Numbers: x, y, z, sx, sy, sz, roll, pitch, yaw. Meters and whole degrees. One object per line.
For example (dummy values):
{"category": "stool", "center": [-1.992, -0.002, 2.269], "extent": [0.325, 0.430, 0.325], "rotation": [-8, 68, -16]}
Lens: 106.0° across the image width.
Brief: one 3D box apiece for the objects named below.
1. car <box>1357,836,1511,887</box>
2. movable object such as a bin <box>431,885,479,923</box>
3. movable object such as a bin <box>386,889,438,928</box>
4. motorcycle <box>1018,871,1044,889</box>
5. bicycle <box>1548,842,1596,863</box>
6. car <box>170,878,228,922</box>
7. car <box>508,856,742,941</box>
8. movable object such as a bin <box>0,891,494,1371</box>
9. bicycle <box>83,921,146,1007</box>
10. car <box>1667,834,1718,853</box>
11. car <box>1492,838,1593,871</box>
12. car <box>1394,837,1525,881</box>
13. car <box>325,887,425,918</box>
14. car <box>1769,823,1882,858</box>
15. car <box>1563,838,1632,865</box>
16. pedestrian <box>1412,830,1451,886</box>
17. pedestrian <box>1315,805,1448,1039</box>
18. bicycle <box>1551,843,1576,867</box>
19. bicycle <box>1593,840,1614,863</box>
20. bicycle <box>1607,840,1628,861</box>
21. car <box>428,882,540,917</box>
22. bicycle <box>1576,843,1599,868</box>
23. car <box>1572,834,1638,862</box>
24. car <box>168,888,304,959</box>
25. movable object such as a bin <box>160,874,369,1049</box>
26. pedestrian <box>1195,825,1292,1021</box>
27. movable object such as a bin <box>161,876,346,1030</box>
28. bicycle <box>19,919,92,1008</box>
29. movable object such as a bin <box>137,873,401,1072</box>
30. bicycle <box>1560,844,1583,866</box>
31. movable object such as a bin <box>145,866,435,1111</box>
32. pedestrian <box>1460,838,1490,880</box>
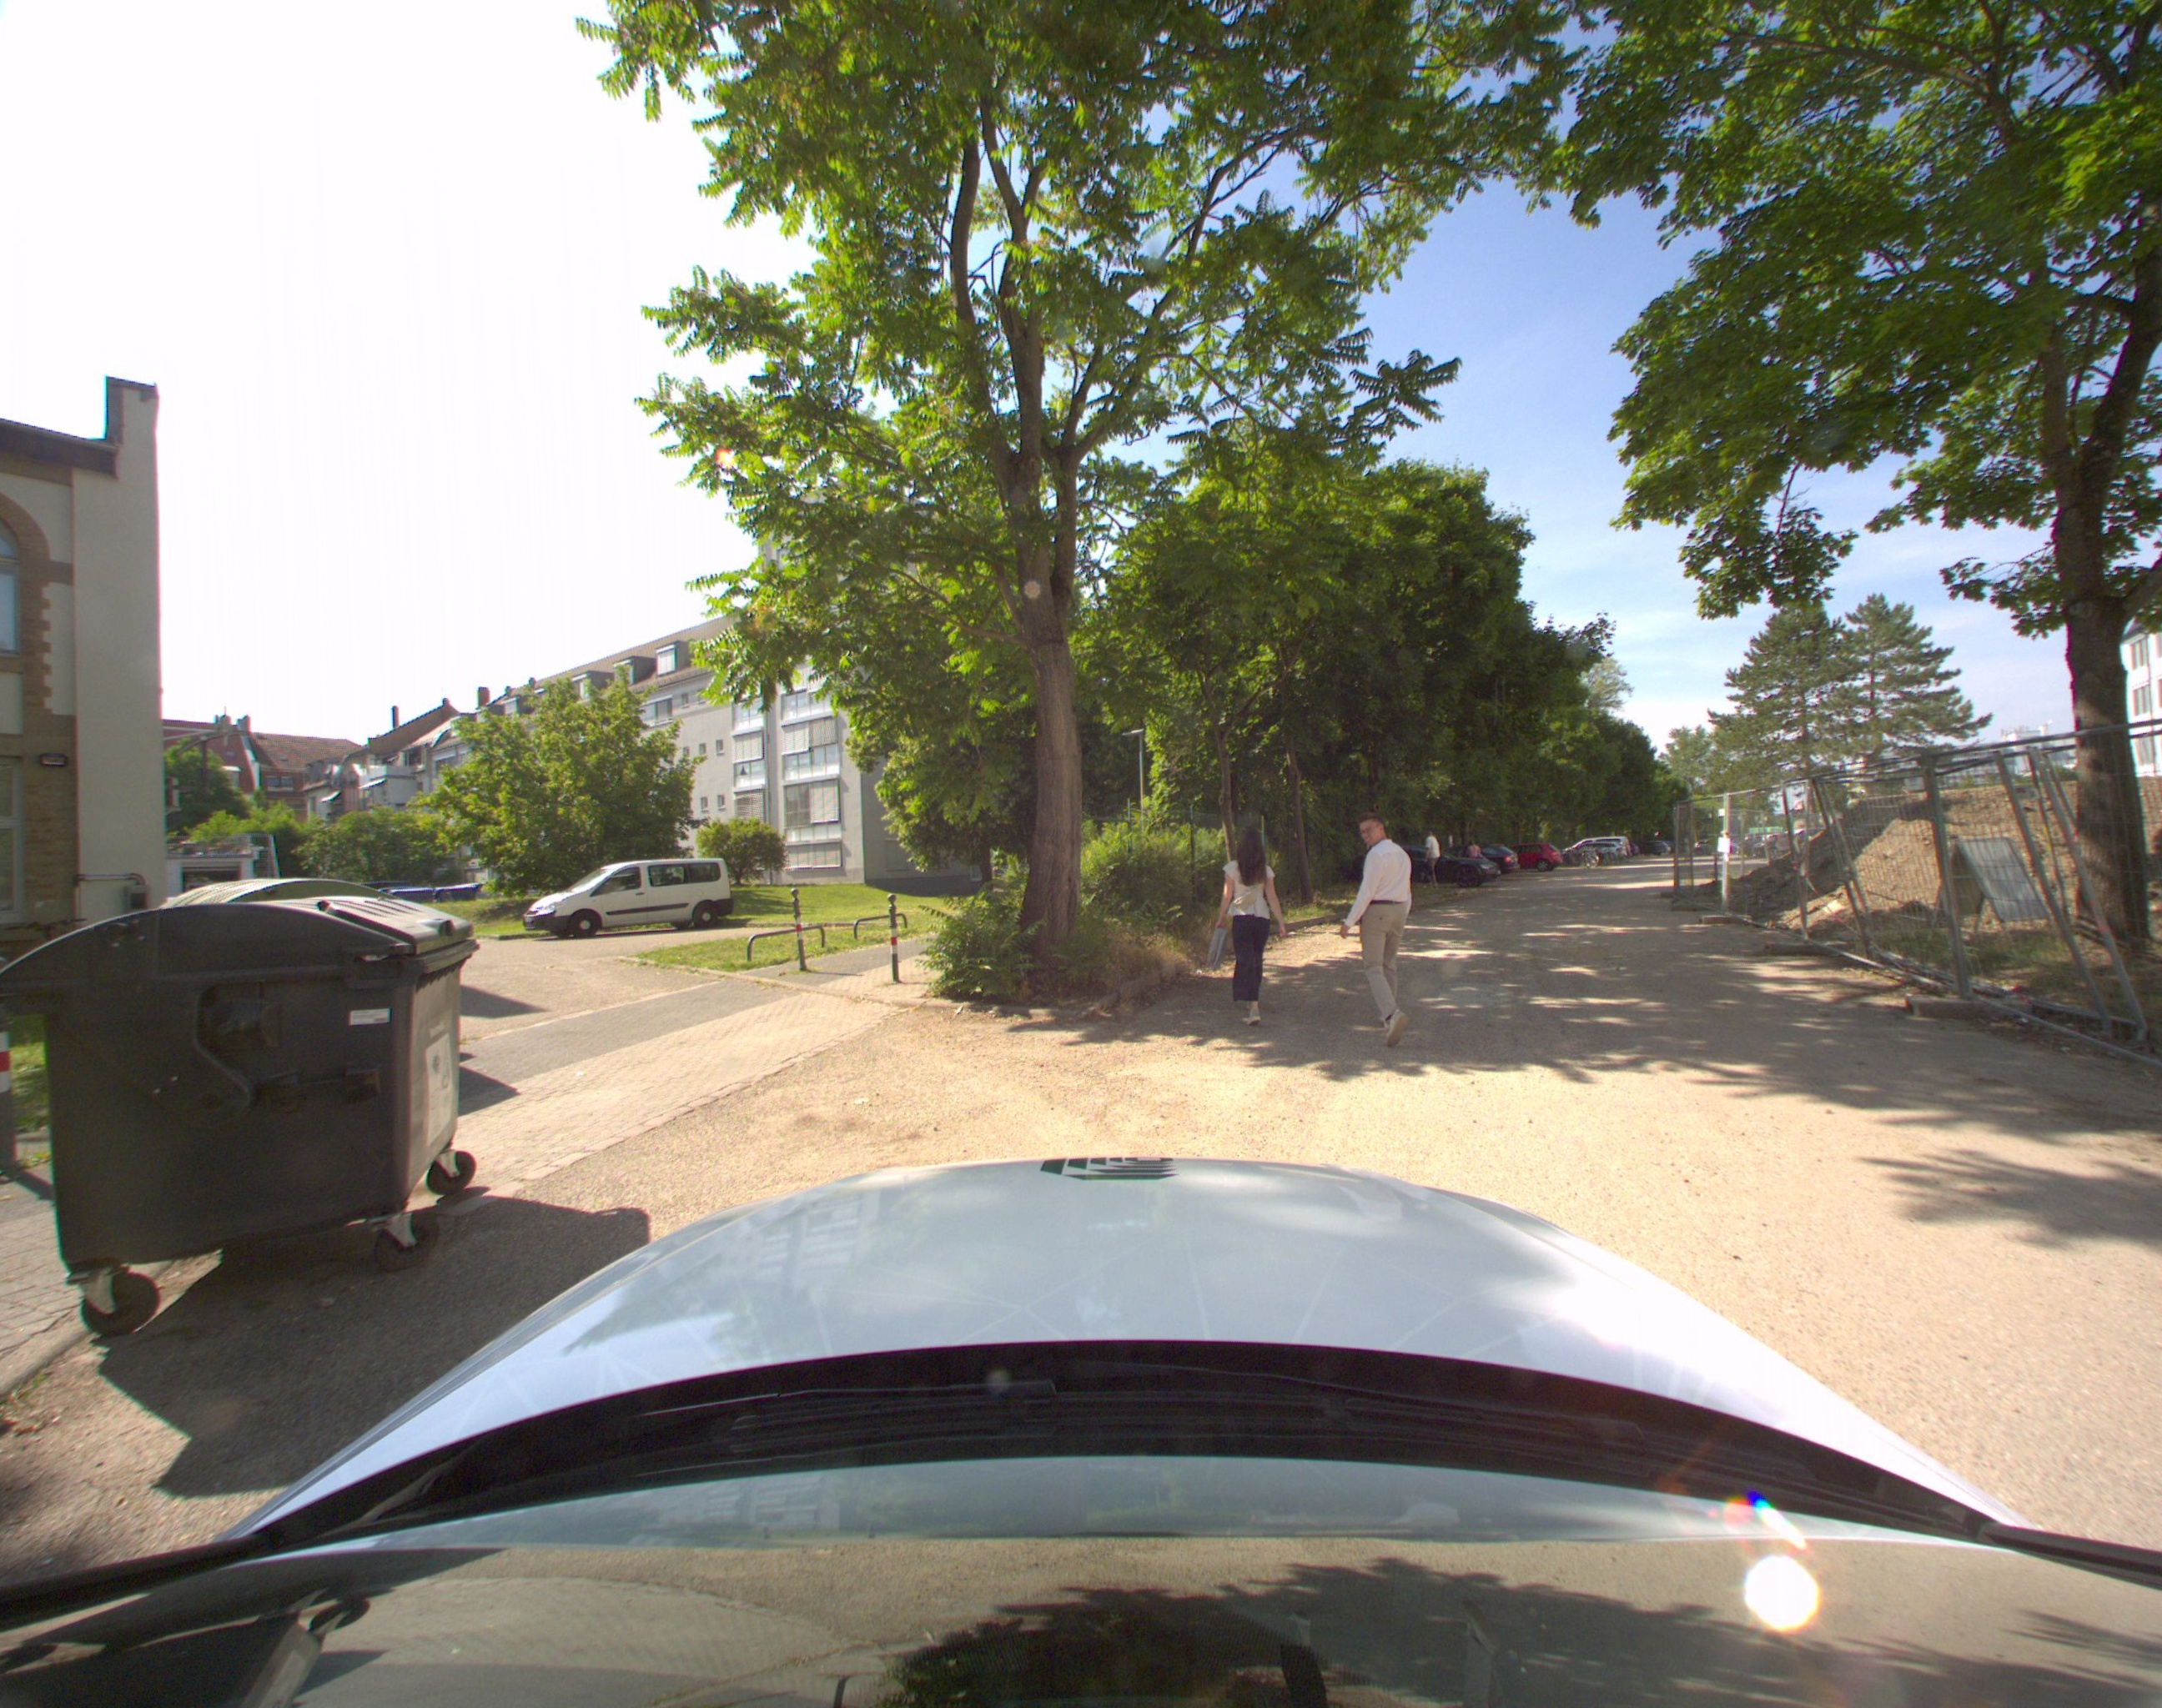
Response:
{"category": "car", "center": [12.179, 0.266, 28.198], "extent": [4.611, 1.584, 2.013], "rotation": [-2, 1, 31]}
{"category": "movable object such as a bin", "center": [-24.032, 1.908, 31.281], "extent": [1.128, 1.340, 1.259], "rotation": [-3, -1, 43]}
{"category": "movable object such as a bin", "center": [-24.903, 2.026, 30.327], "extent": [1.127, 1.319, 1.259], "rotation": [-5, 0, 42]}
{"category": "motorcycle", "center": [-3.811, 1.982, 62.173], "extent": [0.622, 1.246, 2.075], "rotation": [-3, -1, 41]}
{"category": "bicycle", "center": [32.605, -0.114, 54.101], "extent": [2.649, 1.284, 0.824], "rotation": [-2, 0, 34]}
{"category": "car", "center": [-57.610, 3.020, 53.131], "extent": [6.647, 2.607, 2.195], "rotation": [-4, -1, 40]}
{"category": "car", "center": [-12.028, 1.087, 21.811], "extent": [1.974, 1.933, 5.072], "rotation": [-3, -1, 41]}
{"category": "movable object such as a bin", "center": [-3.283, 0.893, 3.369], "extent": [1.253, 1.397, 1.390], "rotation": [-2, -1, -32]}
{"category": "bicycle", "center": [-13.058, 1.452, 11.024], "extent": [1.521, 0.992, 0.448], "rotation": [-2, 1, 43]}
{"category": "car", "center": [71.122, -1.231, 94.711], "extent": [2.011, 2.013, 4.436], "rotation": [-2, -1, -43]}
{"category": "car", "center": [23.736, 0.022, 41.933], "extent": [4.244, 1.524, 1.904], "rotation": [-2, 0, 38]}
{"category": "car", "center": [15.412, 0.220, 33.199], "extent": [4.611, 1.584, 2.013], "rotation": [-2, 1, 31]}
{"category": "car", "center": [-43.484, 2.952, 50.236], "extent": [1.974, 1.532, 4.270], "rotation": [-2, 1, 37]}
{"category": "car", "center": [38.729, -0.699, 42.475], "extent": [4.258, 1.618, 1.769], "rotation": [-2, -1, 43]}
{"category": "car", "center": [37.774, -0.159, 59.588], "extent": [3.949, 1.772, 1.778], "rotation": [-2, 0, 42]}
{"category": "pedestrian", "center": [11.492, 0.131, 26.712], "extent": [1.004, 1.781, 0.825], "rotation": [-2, -1, 31]}
{"category": "pedestrian", "center": [2.357, 0.506, 6.491], "extent": [0.751, 1.728, 0.855], "rotation": [-2, 0, 6]}
{"category": "bicycle", "center": [26.950, 0.039, 45.467], "extent": [0.707, 1.284, 2.808], "rotation": [-2, 0, 39]}
{"category": "bicycle", "center": [30.512, -0.136, 47.553], "extent": [0.707, 1.284, 2.654], "rotation": [-2, 0, 39]}
{"category": "bicycle", "center": [35.265, -0.220, 53.489], "extent": [0.808, 1.284, 2.764], "rotation": [-2, 0, 39]}
{"category": "car", "center": [-29.104, 2.188, 39.786], "extent": [1.788, 1.427, 4.026], "rotation": [-3, 0, 37]}
{"category": "bicycle", "center": [27.330, 0.051, 43.924], "extent": [0.707, 1.284, 2.701], "rotation": [-2, 0, 39]}
{"category": "car", "center": [39.771, -0.446, 61.848], "extent": [3.949, 2.013, 1.778], "rotation": [-2, 0, 42]}
{"category": "car", "center": [-19.836, 1.622, 19.067], "extent": [4.372, 1.442, 1.854], "rotation": [-5, -4, 39]}
{"category": "movable object such as a bin", "center": [-7.814, 0.947, 7.800], "extent": [1.348, 1.431, 1.256], "rotation": [-3, -1, 39]}
{"category": "pedestrian", "center": [1.428, 0.584, 7.285], "extent": [0.732, 1.640, 0.782], "rotation": [-2, 0, 6]}
{"category": "movable object such as a bin", "center": [-8.929, 0.994, 8.791], "extent": [1.332, 1.431, 1.256], "rotation": [-3, -1, 39]}
{"category": "bicycle", "center": [-13.335, 1.391, 10.612], "extent": [1.609, 0.992, 0.448], "rotation": [-2, 1, 43]}
{"category": "movable object such as a bin", "center": [-6.807, 0.914, 6.868], "extent": [1.208, 1.431, 1.256], "rotation": [-3, -1, 29]}
{"category": "bicycle", "center": [29.800, 0.034, 49.469], "extent": [0.808, 1.284, 2.701], "rotation": [-2, 0, 39]}
{"category": "movable object such as a bin", "center": [-5.760, 0.867, 5.957], "extent": [1.321, 1.481, 1.256], "rotation": [-3, -1, 34]}
{"category": "pedestrian", "center": [15.279, 0.201, 31.561], "extent": [0.916, 1.595, 0.791], "rotation": [-2, 0, 31]}
